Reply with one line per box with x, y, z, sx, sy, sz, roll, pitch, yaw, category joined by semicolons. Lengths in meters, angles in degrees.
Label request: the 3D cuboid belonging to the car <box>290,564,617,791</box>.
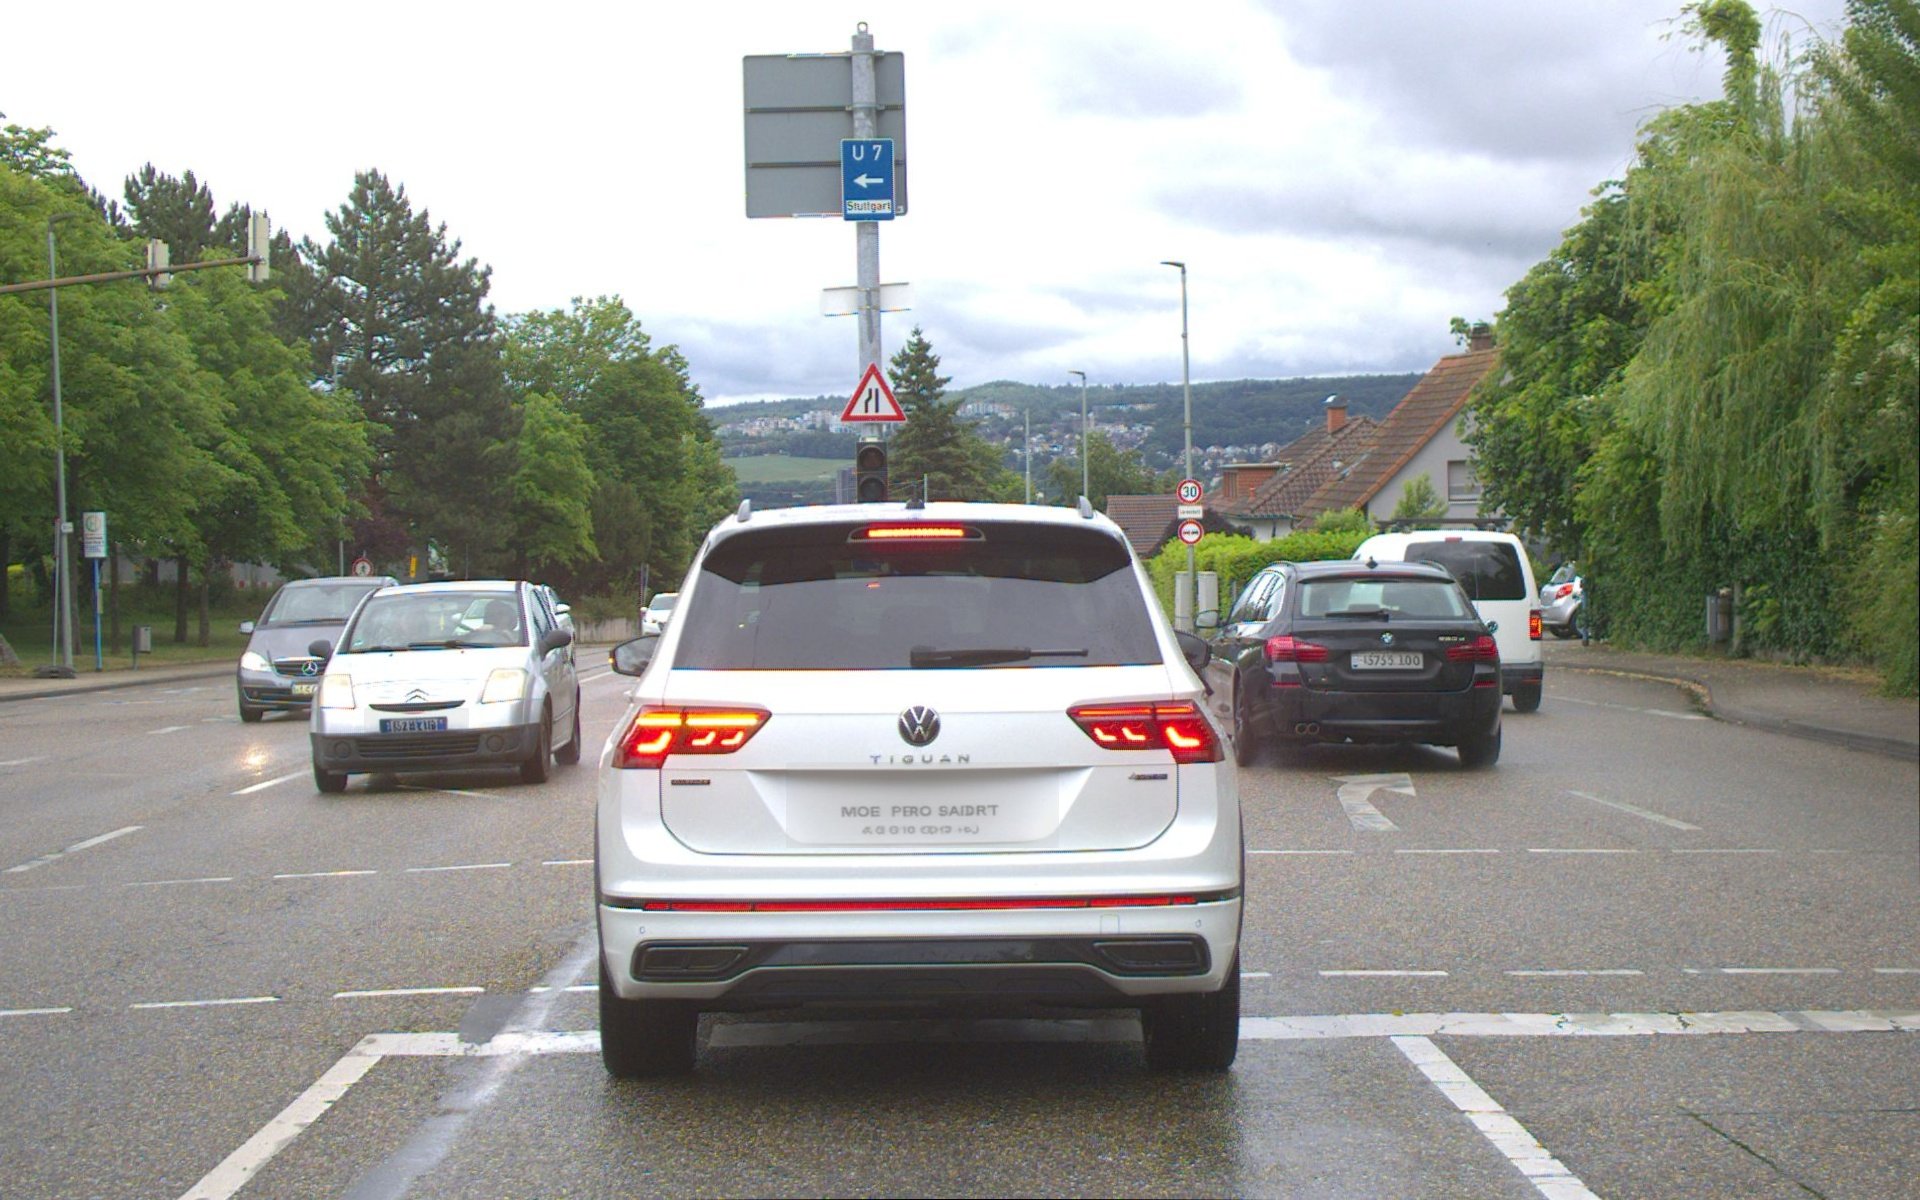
-3.666;0.504;25.628;1.774;1.453;4.550;-2;1;-1;car

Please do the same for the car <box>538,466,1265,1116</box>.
-0.181;0.485;10.850;1.868;1.668;4.000;0;0;-1;car

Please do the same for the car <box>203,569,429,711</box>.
-7.378;0.419;39.815;1.774;1.453;4.550;-2;1;-1;car

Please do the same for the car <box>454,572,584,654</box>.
-7.464;0.201;58.480;1.650;1.269;3.621;-1;1;1;car

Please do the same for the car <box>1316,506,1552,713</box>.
4.780;0.041;35.113;1.764;1.870;3.806;0;3;-2;car

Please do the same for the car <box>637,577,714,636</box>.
-7.740;0.159;93.925;1.774;1.453;4.186;-2;1;-1;car

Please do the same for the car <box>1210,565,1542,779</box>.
2.969;0.476;25.345;1.899;1.437;4.000;0;0;-1;car
